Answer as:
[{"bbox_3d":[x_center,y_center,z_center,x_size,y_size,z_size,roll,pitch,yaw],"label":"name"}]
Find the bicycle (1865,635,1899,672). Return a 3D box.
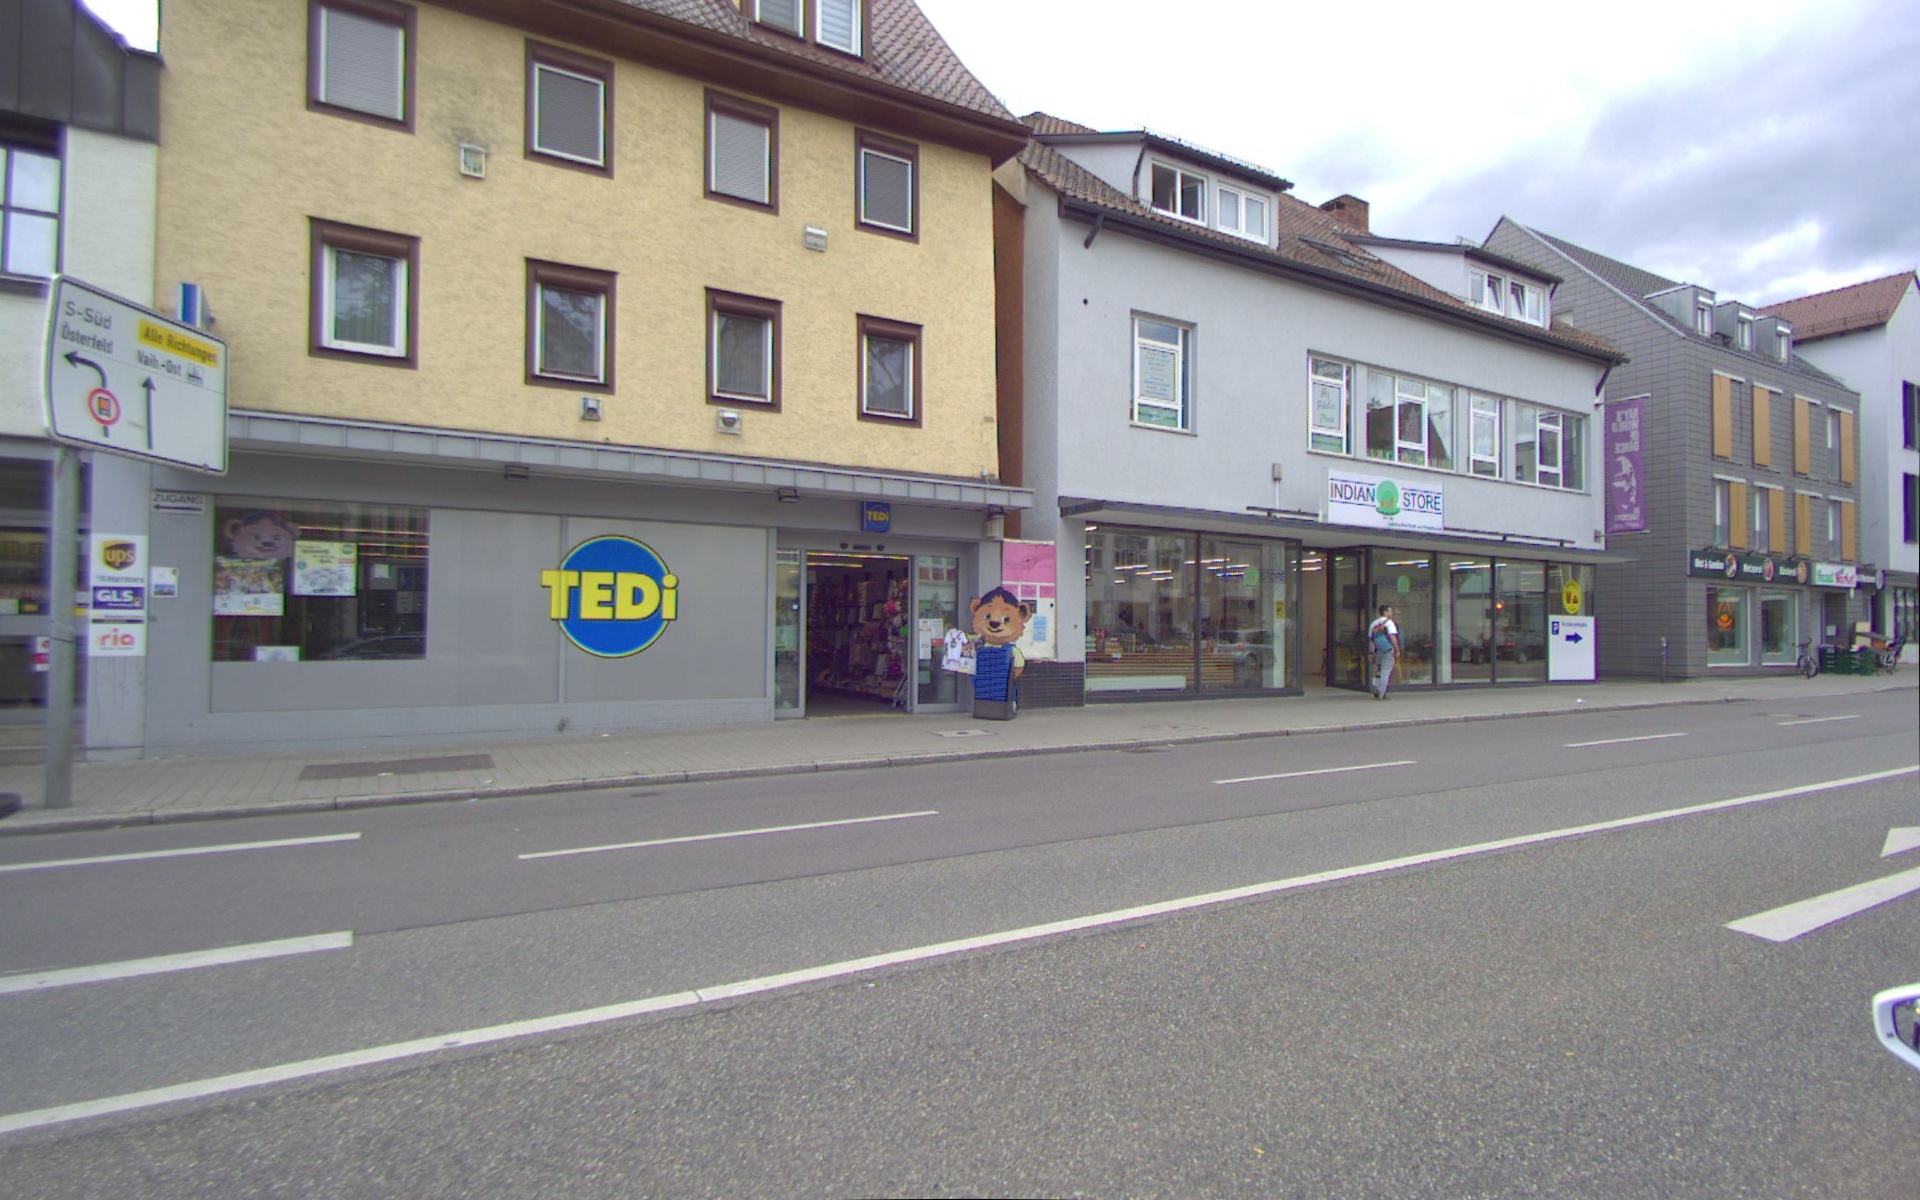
[{"bbox_3d":[30.282,1.745,32.980,1.806,1.202,0.384,1,-1,-34],"label":"bicycle"}]

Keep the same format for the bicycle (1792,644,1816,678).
[{"bbox_3d":[24.528,1.757,29.182,1.472,0.966,0.323,1,-2,-41],"label":"bicycle"}]

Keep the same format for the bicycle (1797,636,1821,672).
[{"bbox_3d":[27.379,1.730,32.379,1.279,1.142,0.383,1,-2,-40],"label":"bicycle"}]

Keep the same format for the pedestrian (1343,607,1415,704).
[{"bbox_3d":[7.851,1.022,18.833,0.969,1.728,0.750,1,2,-30],"label":"pedestrian"}]
